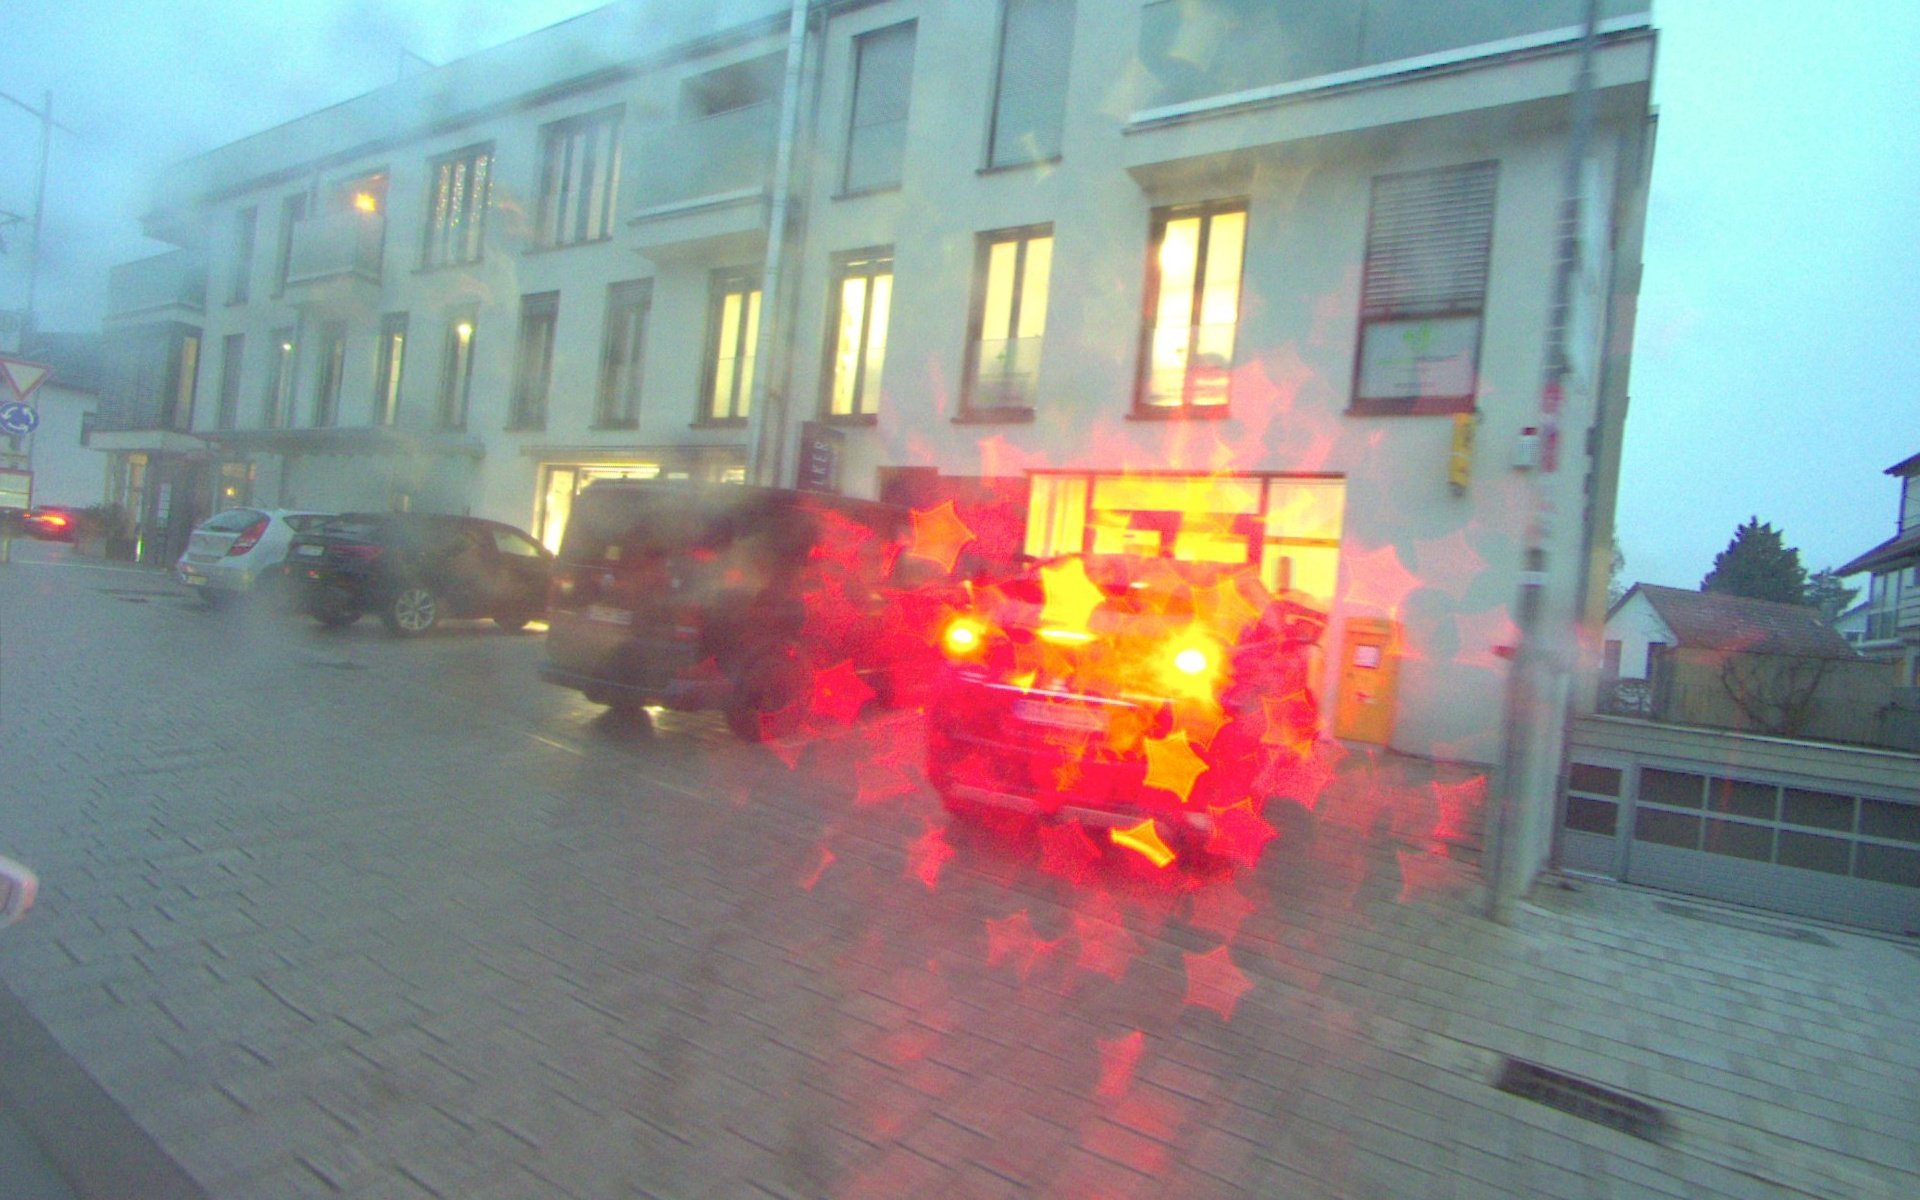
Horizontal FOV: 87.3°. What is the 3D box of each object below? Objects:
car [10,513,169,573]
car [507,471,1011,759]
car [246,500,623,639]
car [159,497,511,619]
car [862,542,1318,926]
[{"bbox_3d":[-32.277,-2.084,37.479,1.962,1.495,4.009,6,-4,11],"label":"car"},{"bbox_3d":[-1.518,0.014,9.299,1.917,1.948,4.559,6,4,31],"label":"car"},{"bbox_3d":[-6.811,-0.334,13.558,1.762,1.479,4.210,6,2,27],"label":"car"},{"bbox_3d":[-9.294,-0.556,15.364,1.762,1.479,4.210,6,2,27],"label":"car"},{"bbox_3d":[1.211,0.512,6.905,1.772,1.663,4.175,7,6,25],"label":"car"}]
